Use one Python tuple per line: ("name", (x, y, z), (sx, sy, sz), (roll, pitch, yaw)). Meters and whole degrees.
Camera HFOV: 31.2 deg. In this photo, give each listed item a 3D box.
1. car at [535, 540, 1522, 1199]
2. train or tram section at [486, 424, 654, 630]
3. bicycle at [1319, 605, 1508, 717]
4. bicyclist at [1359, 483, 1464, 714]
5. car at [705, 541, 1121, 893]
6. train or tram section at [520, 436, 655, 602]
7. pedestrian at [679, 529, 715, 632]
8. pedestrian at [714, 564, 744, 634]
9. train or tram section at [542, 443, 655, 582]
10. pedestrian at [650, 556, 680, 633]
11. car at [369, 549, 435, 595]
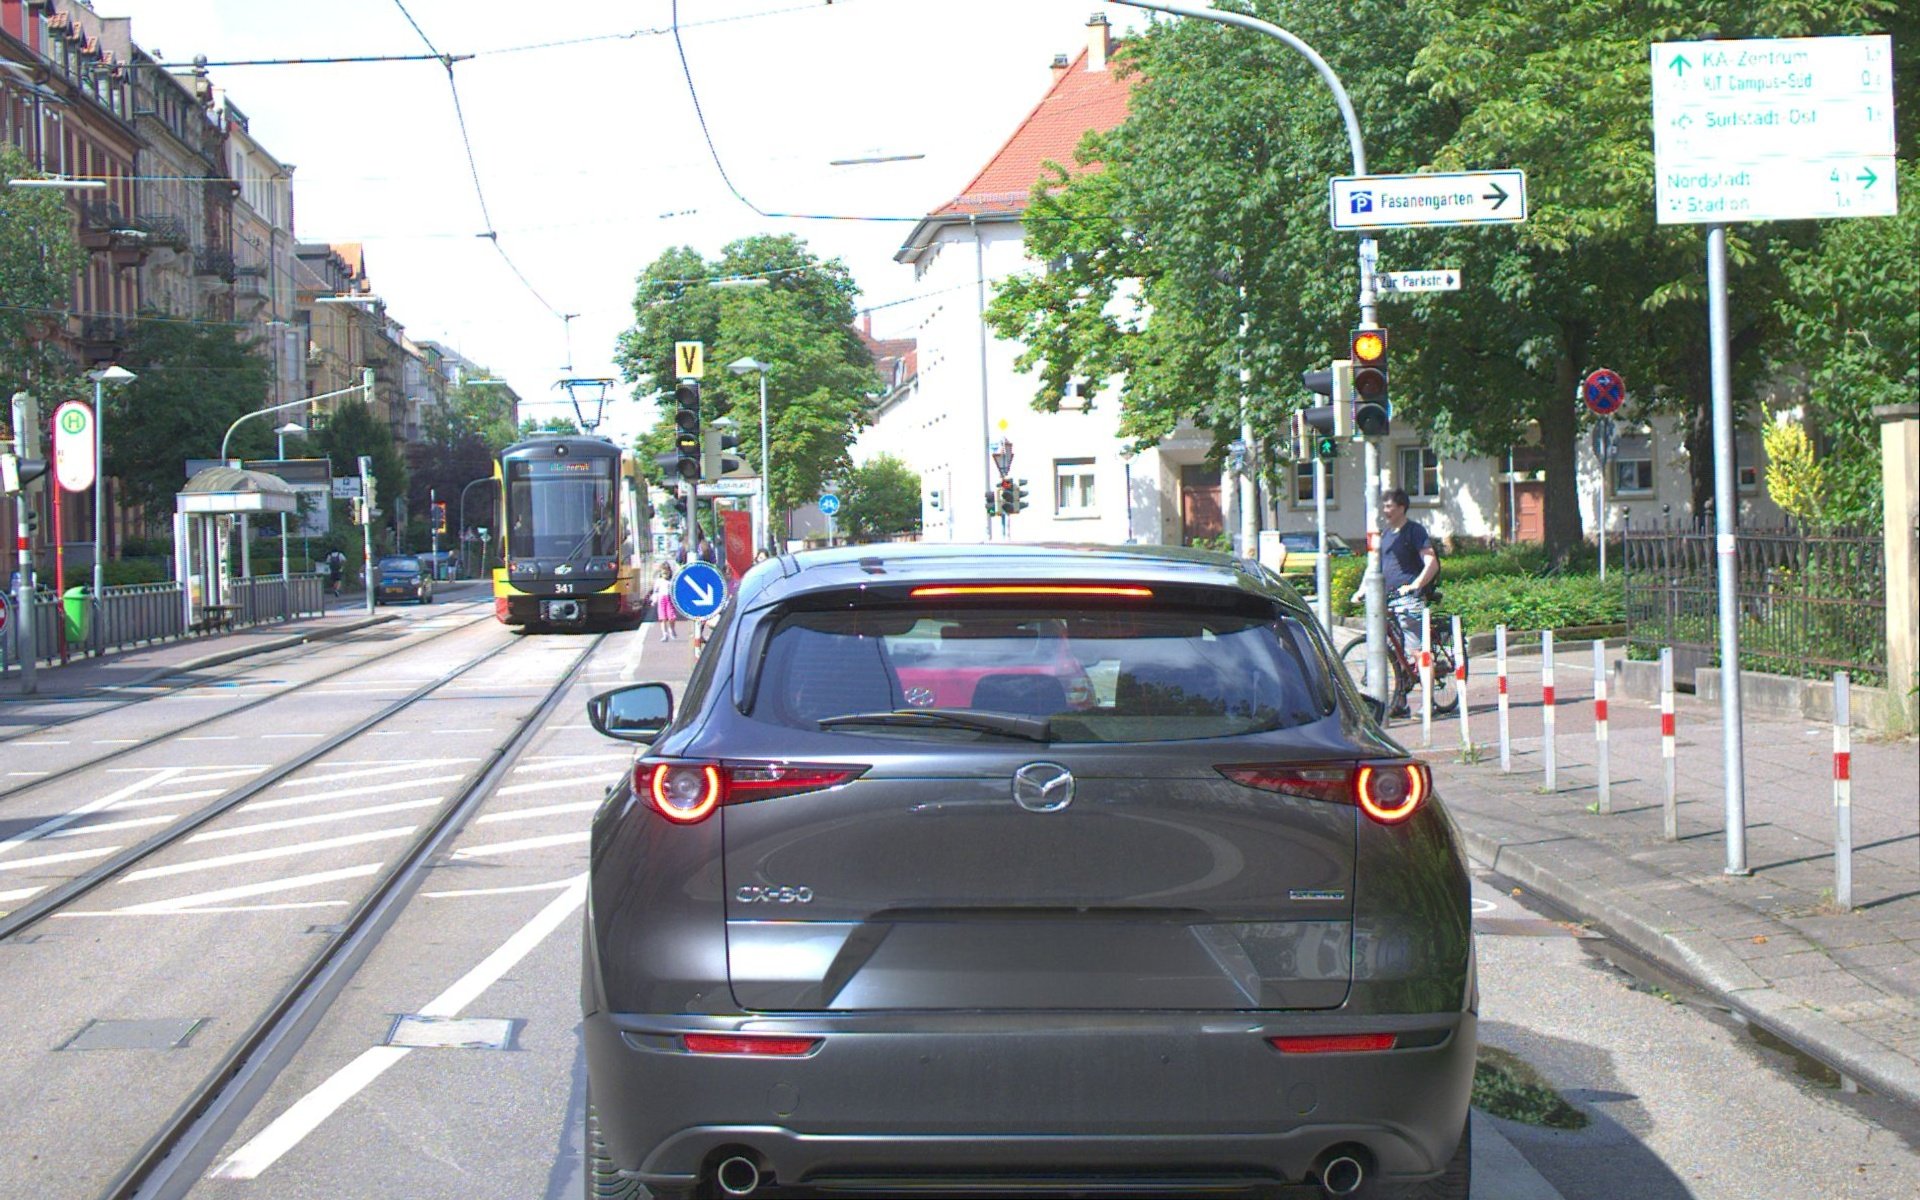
("car", (0.076, 0.617, 8.242), (1.778, 1.494, 4.000), (1, 1, -1))
("train or tram section", (-7.354, -1.496, 66.328), (2.752, 3.478, 14.411), (-2, 2, -5))
("bicycle", (3.630, 0.474, 27.446), (1.694, 0.821, 0.494), (-2, 1, -42))
("bicyclist", (3.567, -0.018, 27.197), (0.608, 1.786, 0.658), (-1, 1, -11))
("car", (-0.250, 0.473, 16.846), (1.778, 1.494, 4.000), (1, 1, -1))
("train or tram section", (-8.606, -1.979, 80.678), (2.752, 3.478, 14.411), (-2, 2, -5))
("pedestrian", (-3.702, -0.283, 48.377), (0.450, 1.429, 0.474), (-1, 1, -5))
("pedestrian", (-3.284, -0.018, 48.860), (0.379, 0.981, 0.474), (-2, 1, -5))
("train or tram section", (-9.876, -2.472, 95.011), (2.752, 3.478, 14.411), (-2, 2, -5))
("pedestrian", (-4.152, -0.078, 48.392), (0.379, 1.067, 0.474), (-2, 1, -5))
("car", (-16.673, -0.861, 102.826), (1.614, 1.305, 3.628), (-1, 1, -4))
